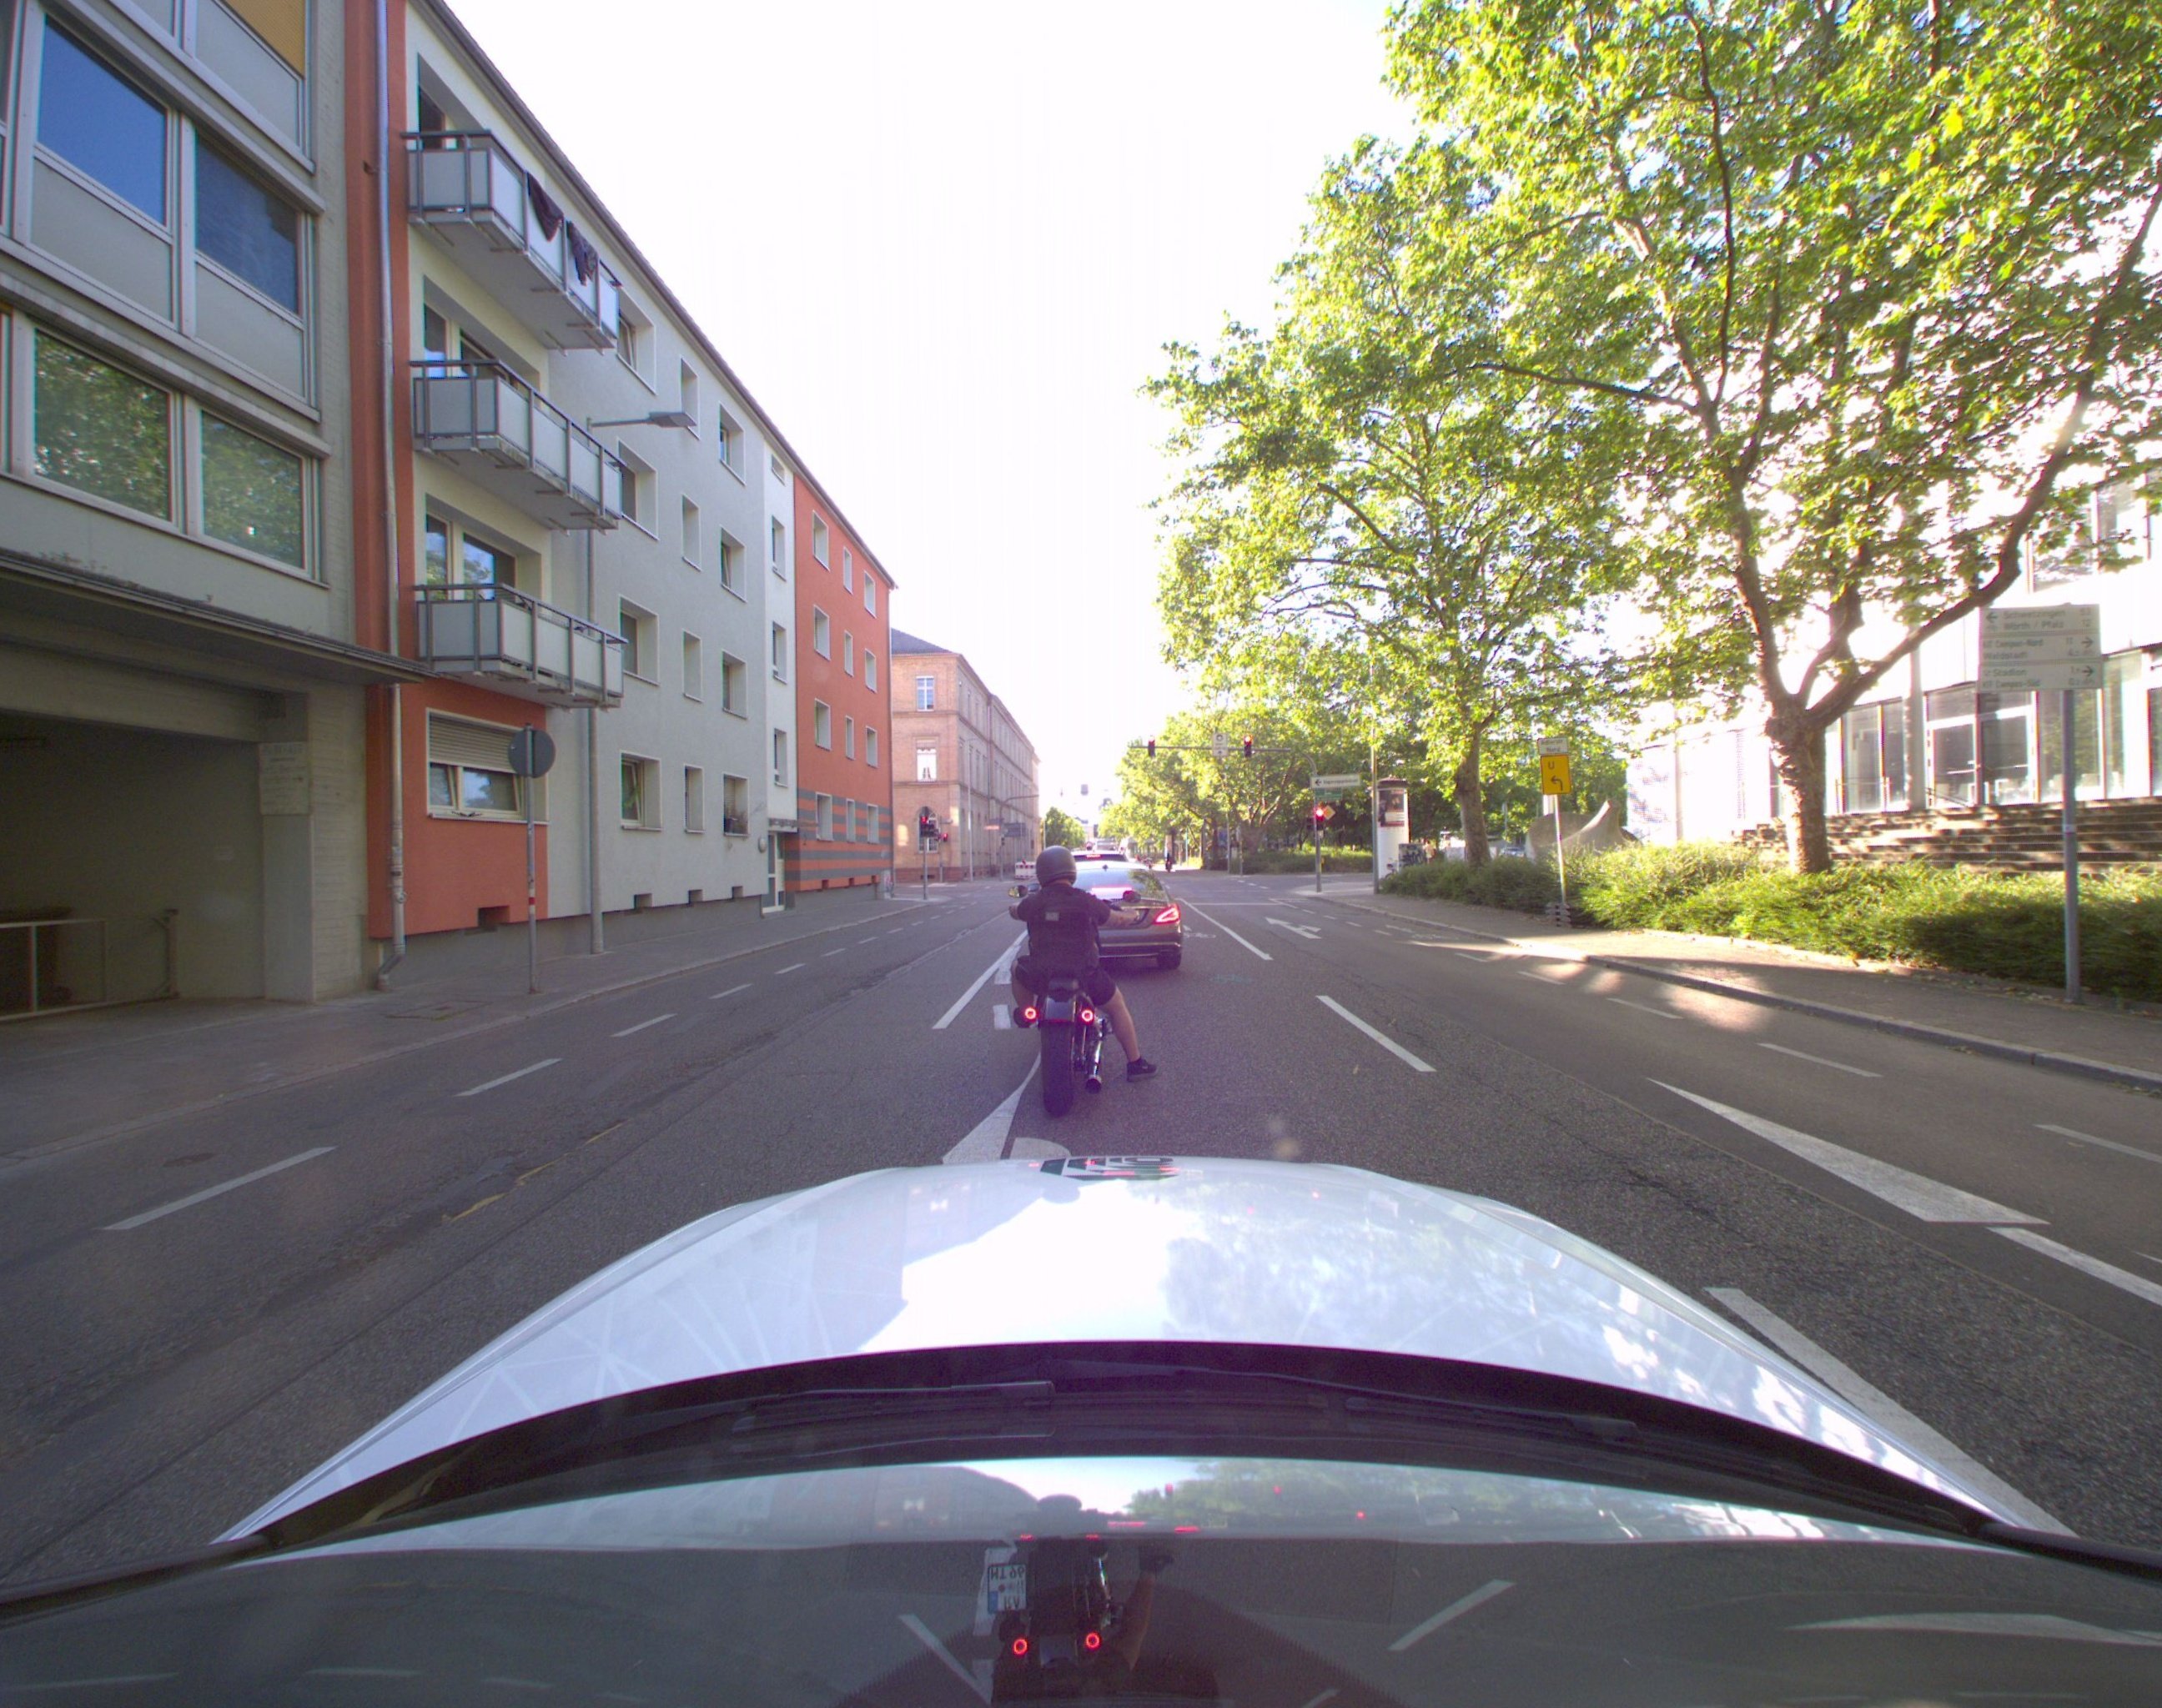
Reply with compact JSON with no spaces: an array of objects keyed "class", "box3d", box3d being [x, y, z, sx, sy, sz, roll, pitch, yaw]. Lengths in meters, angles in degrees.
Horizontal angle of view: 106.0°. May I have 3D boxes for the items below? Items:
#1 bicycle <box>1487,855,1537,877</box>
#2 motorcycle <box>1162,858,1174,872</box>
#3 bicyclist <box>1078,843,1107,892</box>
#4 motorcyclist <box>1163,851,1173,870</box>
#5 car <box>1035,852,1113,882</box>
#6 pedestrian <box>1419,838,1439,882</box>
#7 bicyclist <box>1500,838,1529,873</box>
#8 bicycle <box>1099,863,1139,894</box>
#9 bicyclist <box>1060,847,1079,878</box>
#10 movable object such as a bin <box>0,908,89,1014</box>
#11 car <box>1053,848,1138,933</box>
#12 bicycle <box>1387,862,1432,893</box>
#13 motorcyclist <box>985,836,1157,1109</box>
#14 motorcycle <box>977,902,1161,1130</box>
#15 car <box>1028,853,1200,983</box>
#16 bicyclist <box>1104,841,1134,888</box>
[{"class":"bicycle","box3d":[20.723,0.586,39.152,1.998,0.980,0.768,-1,3,3]},{"class":"motorcycle","box3d":[7.762,0.984,72.673,0.835,1.245,2.284,-1,0,2]},{"class":"bicyclist","box3d":[0.404,0.480,28.873,0.706,1.692,0.958,-1,0,-22]},{"class":"motorcyclist","box3d":[7.768,0.565,72.669,0.835,1.703,1.181,-1,0,2]},{"class":"car","box3d":[-0.400,0.669,42.077,3.891,1.486,1.857,0,-1,-7]},{"class":"pedestrian","box3d":[14.911,0.244,34.898,0.549,1.849,0.594,-1,0,3]},{"class":"bicyclist","box3d":[20.802,0.067,39.099,1.034,1.614,0.768,-1,3,3]},{"class":"bicycle","box3d":[1.402,0.909,30.417,0.705,1.103,2.149,-2,-1,-19]},{"class":"bicyclist","box3d":[-0.649,0.465,45.731,0.973,1.743,0.609,-1,0,-3]},{"class":"movable object such as a bin","box3d":[-11.316,1.118,8.684,0.593,1.041,0.703,0,-1,1]},{"class":"car","box3d":[0.321,0.709,17.891,1.606,1.607,4.329,-1,0,1]},{"class":"bicycle","box3d":[11.047,0.793,27.438,1.346,1.023,0.363,-1,0,2]},{"class":"motorcyclist","box3d":[-0.036,0.701,5.530,0.986,1.597,1.404,-1,0,2]},{"class":"motorcycle","box3d":[-0.027,0.960,5.683,0.986,1.078,2.453,-1,0,2]},{"class":"car","box3d":[0.257,0.745,11.722,1.943,1.473,4.355,-1,0,-5]},{"class":"bicyclist","box3d":[1.398,0.381,30.340,0.705,1.695,1.040,-2,-1,-20]}]
